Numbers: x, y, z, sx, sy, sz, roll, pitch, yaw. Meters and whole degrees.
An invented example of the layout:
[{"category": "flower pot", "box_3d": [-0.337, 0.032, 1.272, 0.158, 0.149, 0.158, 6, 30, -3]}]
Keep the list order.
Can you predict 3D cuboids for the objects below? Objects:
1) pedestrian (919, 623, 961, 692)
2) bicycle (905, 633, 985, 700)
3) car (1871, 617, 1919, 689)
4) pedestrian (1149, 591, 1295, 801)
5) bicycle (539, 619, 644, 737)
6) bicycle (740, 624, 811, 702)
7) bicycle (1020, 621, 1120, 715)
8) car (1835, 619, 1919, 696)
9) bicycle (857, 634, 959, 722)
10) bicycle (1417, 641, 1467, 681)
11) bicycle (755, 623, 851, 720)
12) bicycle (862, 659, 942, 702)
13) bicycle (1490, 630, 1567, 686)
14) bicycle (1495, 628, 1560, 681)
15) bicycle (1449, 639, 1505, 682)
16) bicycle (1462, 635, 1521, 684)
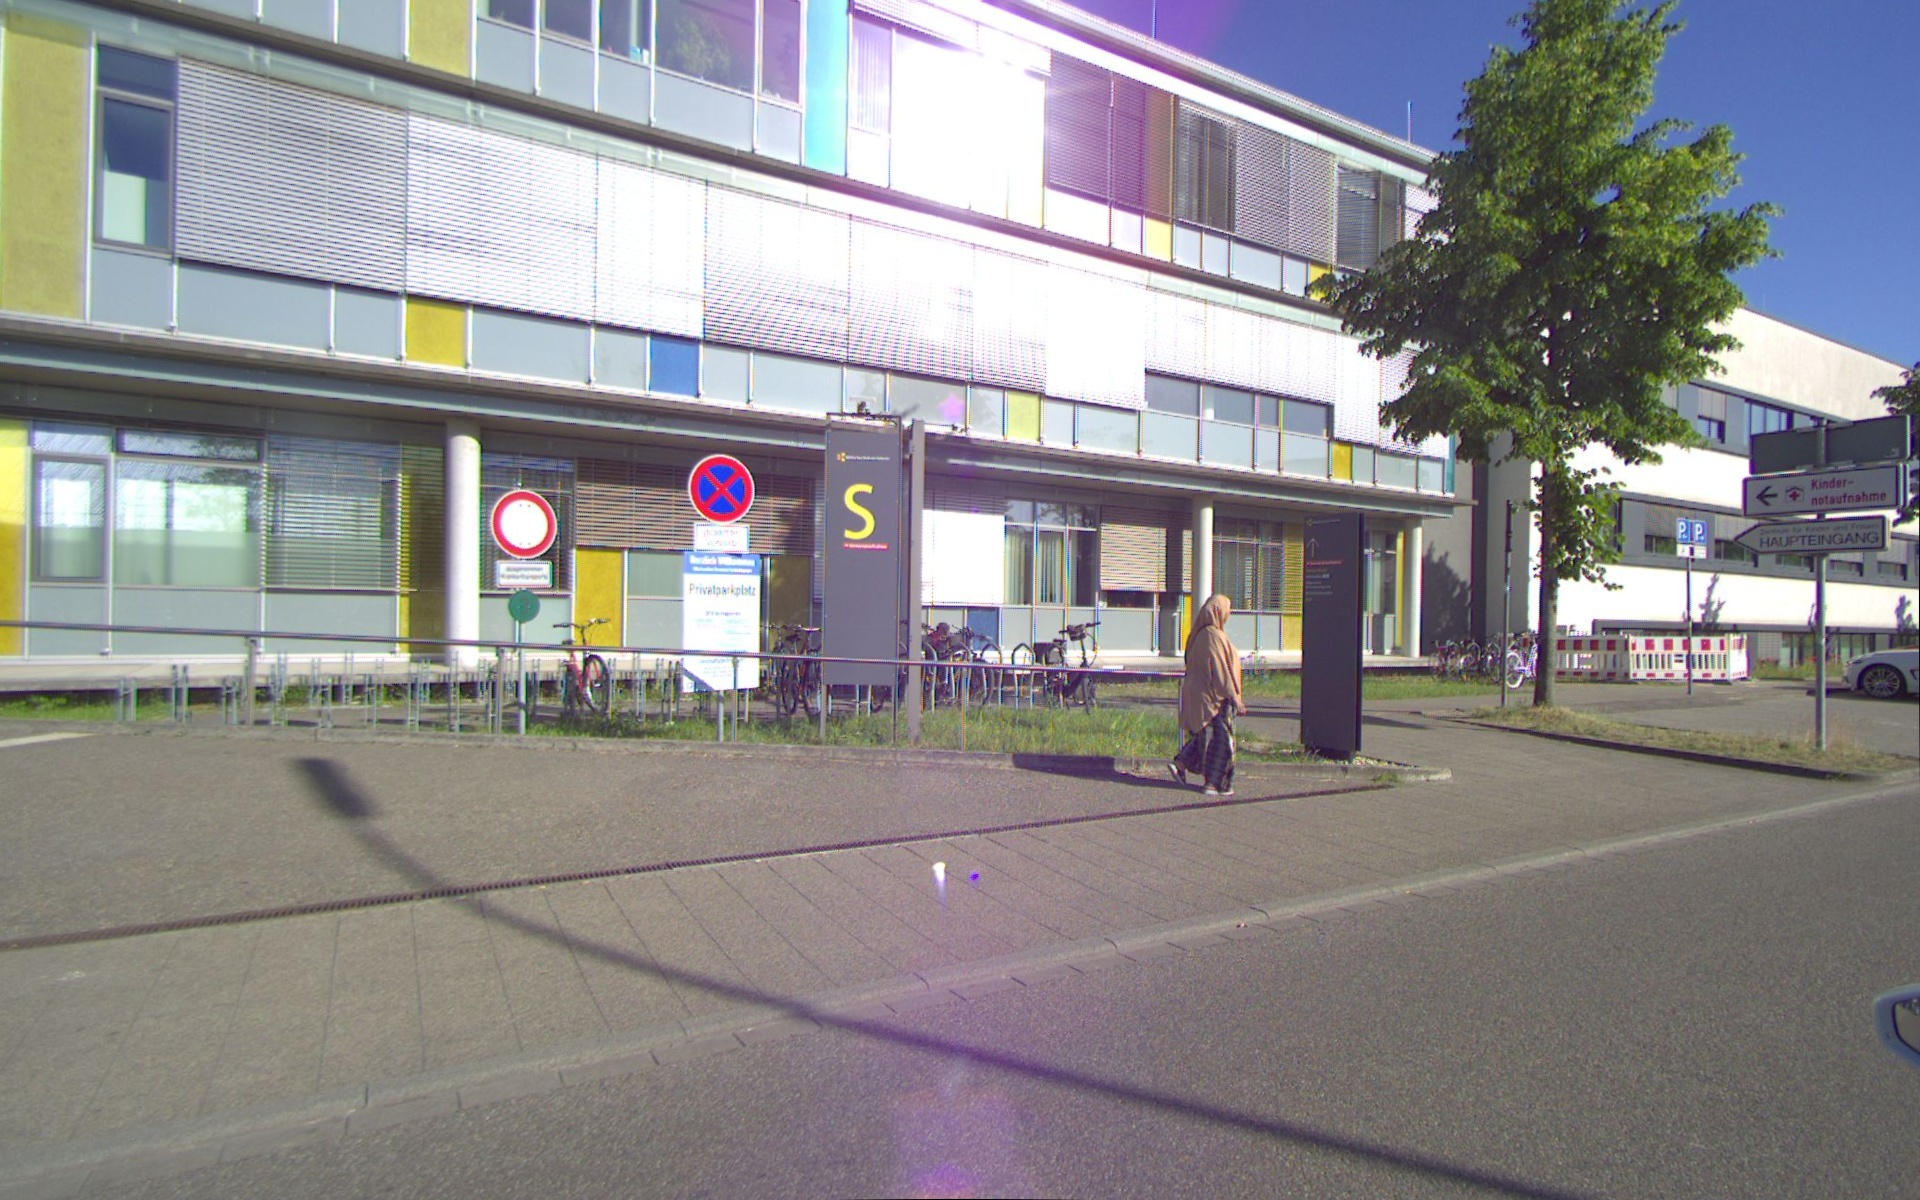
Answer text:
[{"category": "pedestrian", "box_3d": [-0.356, 0.998, 17.651, 0.549, 1.188, 0.529, 1, 0, -29]}, {"category": "bicycle", "box_3d": [-0.265, 1.052, 16.322, 0.530, 1.007, 1.706, 1, -1, -30]}, {"category": "car", "box_3d": [21.646, 1.170, 20.970, 1.597, 1.489, 3.612, 0, 1, -34]}, {"category": "pedestrian", "box_3d": [2.110, 0.736, 8.122, 0.771, 1.570, 0.769, 2, 1, -30]}, {"category": "bicycle", "box_3d": [-3.963, 0.785, 10.721, 0.532, 1.138, 1.701, 1, -1, -39]}, {"category": "bicycle", "box_3d": [-2.927, 0.952, 15.806, 0.530, 1.138, 1.706, 1, -1, -30]}, {"category": "bicycle", "box_3d": [1.419, 0.861, 13.297, 0.529, 1.136, 1.698, 1, -1, -24]}, {"category": "car", "box_3d": [19.555, 1.186, 18.805, 1.682, 1.386, 4.482, 1, 2, -34]}, {"category": "bicycle", "box_3d": [-0.681, 0.943, 12.619, 0.530, 0.987, 1.706, 1, -1, -31]}, {"category": "bicycle", "box_3d": [10.957, 1.376, 22.811, 1.433, 0.885, 0.253, 1, -1, -30]}, {"category": "bicycle", "box_3d": [-1.911, 0.818, 12.065, 0.530, 1.069, 1.706, 1, -1, -31]}, {"category": "bicycle", "box_3d": [-0.941, 1.257, 15.870, 0.530, 0.559, 1.706, 1, -1, -30]}, {"category": "bicycle", "box_3d": [11.884, 1.199, 20.976, 1.838, 1.126, 0.532, 1, -1, -29]}, {"category": "bicycle", "box_3d": [12.538, 1.193, 22.170, 1.742, 1.138, 0.418, 1, -1, -30]}, {"category": "bicycle", "box_3d": [11.207, 1.299, 21.756, 1.433, 0.875, 0.367, 1, -1, -30]}, {"category": "bicycle", "box_3d": [11.227, 1.239, 21.207, 1.433, 1.002, 0.393, 1, -1, -30]}]
